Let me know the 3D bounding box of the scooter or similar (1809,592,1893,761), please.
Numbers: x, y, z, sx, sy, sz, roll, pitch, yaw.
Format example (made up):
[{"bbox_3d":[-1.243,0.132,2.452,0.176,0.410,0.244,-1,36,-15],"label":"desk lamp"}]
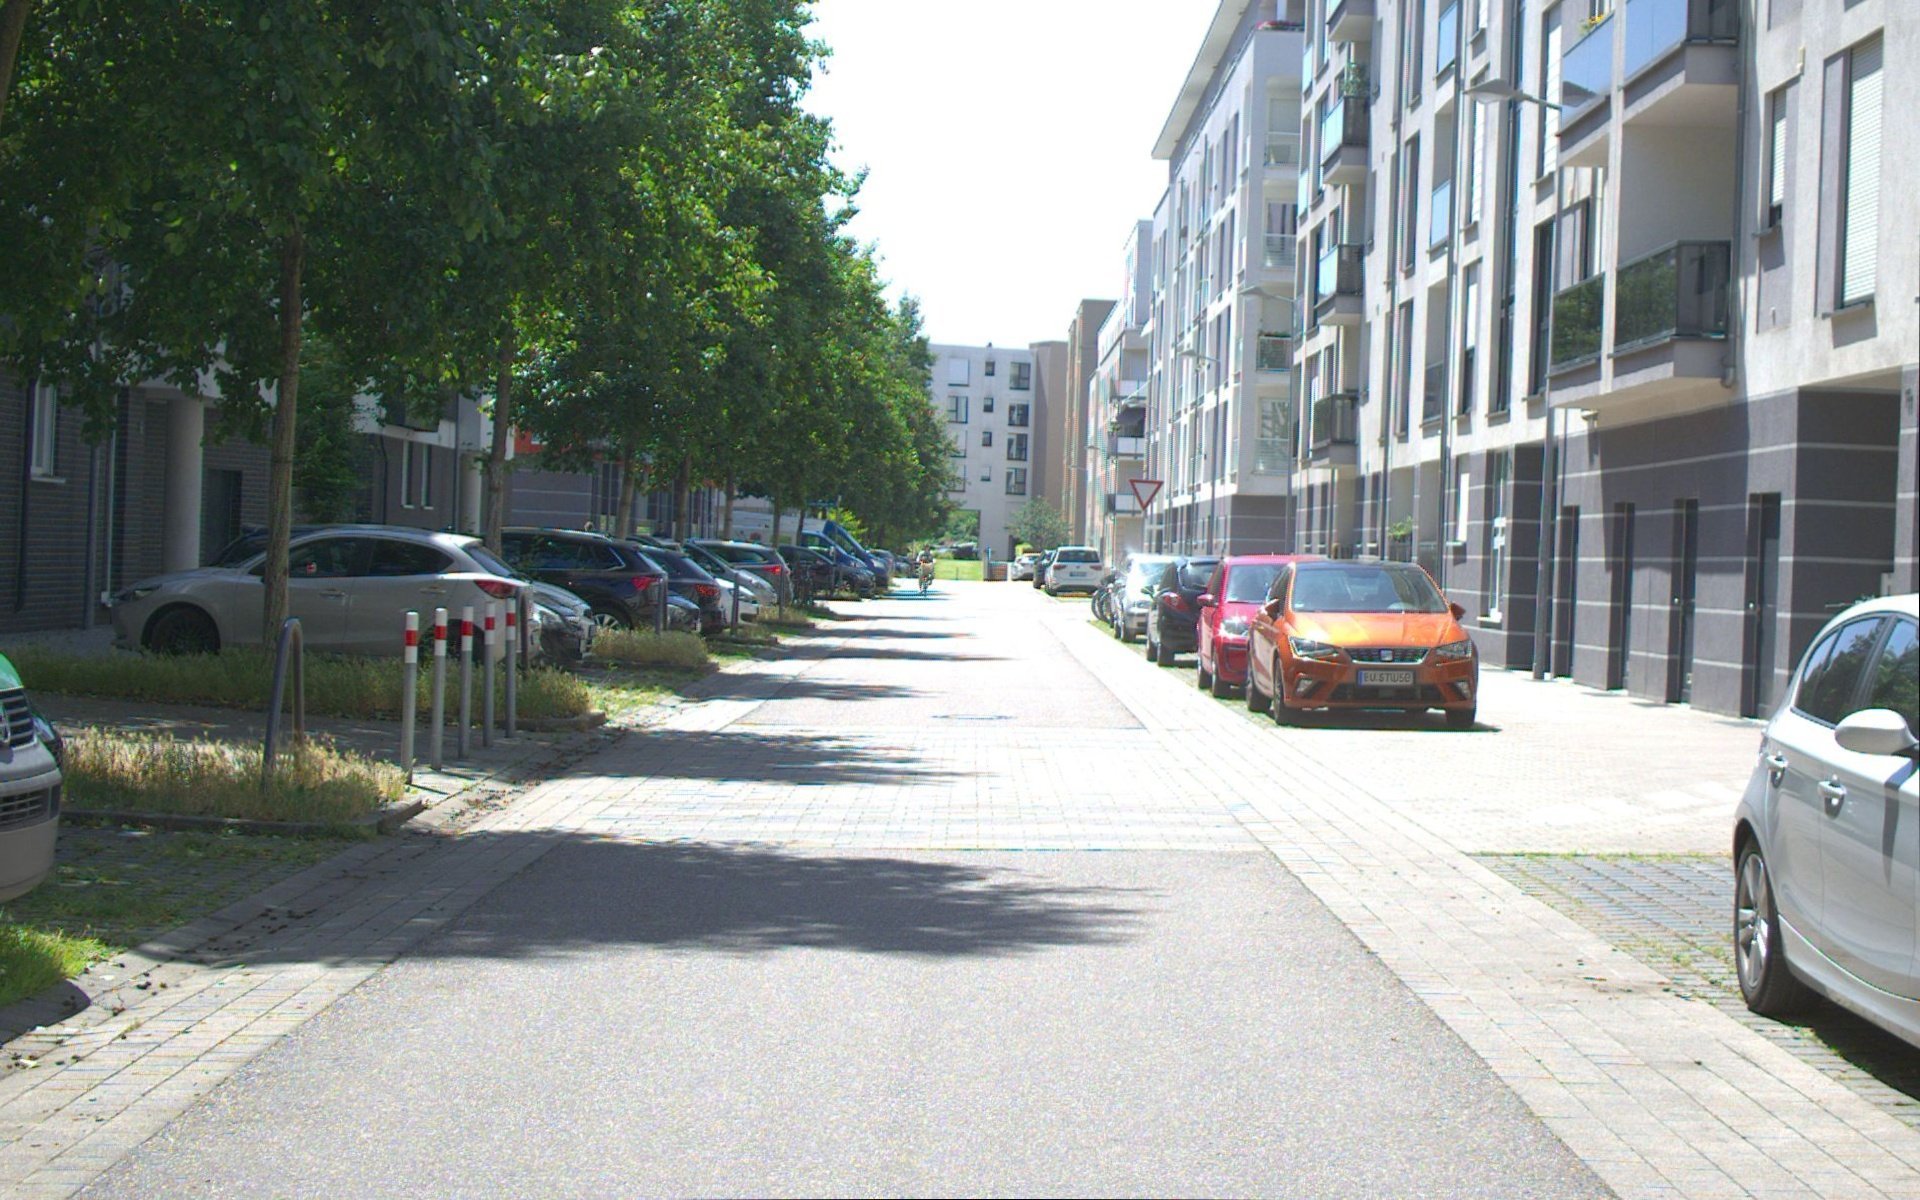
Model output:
[{"bbox_3d":[6.837,0.566,26.365,0.546,1.221,1.528,3,1,15],"label":"scooter or similar"}]

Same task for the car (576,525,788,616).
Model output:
[{"bbox_3d":[-5.434,-0.586,67.638,3.937,1.548,1.872,3,1,0],"label":"car"}]

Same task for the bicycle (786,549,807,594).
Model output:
[{"bbox_3d":[-4.584,-0.810,96.454,0.434,1.200,1.700,3,2,1],"label":"bicycle"}]

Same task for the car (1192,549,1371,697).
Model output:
[{"bbox_3d":[3.385,0.206,36.739,1.595,1.480,3.676,0,1,0],"label":"car"}]

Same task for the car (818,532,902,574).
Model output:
[{"bbox_3d":[-5.170,-2.435,178.030,3.988,2.007,1.999,2,1,7],"label":"car"}]

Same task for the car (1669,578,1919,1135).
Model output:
[{"bbox_3d":[3.437,0.689,10.033,1.845,1.411,4.426,2,1,1],"label":"car"}]

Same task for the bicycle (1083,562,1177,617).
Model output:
[{"bbox_3d":[3.612,-0.231,72.913,1.924,1.129,0.609,1,1,10],"label":"bicycle"}]

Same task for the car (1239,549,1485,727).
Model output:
[{"bbox_3d":[3.572,0.289,31.201,1.737,1.482,4.259,1,1,0],"label":"car"}]

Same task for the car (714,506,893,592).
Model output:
[{"bbox_3d":[-5.394,-1.759,119.189,6.024,2.806,2.605,1,1,1],"label":"car"}]

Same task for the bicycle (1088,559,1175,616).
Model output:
[{"bbox_3d":[3.741,-0.277,74.908,1.860,1.189,0.687,1,1,4],"label":"bicycle"}]

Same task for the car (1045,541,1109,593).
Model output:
[{"bbox_3d":[3.854,-1.107,113.652,1.997,1.651,4.115,1,1,1],"label":"car"}]

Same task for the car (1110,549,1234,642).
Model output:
[{"bbox_3d":[3.537,-0.106,57.896,1.834,1.499,4.351,0,1,0],"label":"car"}]

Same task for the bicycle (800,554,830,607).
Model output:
[{"bbox_3d":[-3.296,-0.455,77.947,0.371,1.176,1.821,1,1,-12],"label":"bicycle"}]

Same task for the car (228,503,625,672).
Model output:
[{"bbox_3d":[-5.844,-0.152,37.965,3.987,1.586,1.884,3,1,1],"label":"car"}]

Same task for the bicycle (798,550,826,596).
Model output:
[{"bbox_3d":[-4.152,-0.765,96.442,0.570,1.170,1.769,5,2,-7],"label":"bicycle"}]

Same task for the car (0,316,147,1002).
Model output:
[{"bbox_3d":[-5.586,0.102,11.051,5.342,2.103,2.187,2,1,2],"label":"car"}]

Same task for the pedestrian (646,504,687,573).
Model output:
[{"bbox_3d":[-8.572,-1.795,100.395,1.009,2.007,1.129,1,1,3],"label":"pedestrian"}]

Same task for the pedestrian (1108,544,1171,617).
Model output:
[{"bbox_3d":[3.760,-0.417,72.086,1.178,1.509,0.688,1,1,-9],"label":"pedestrian"}]

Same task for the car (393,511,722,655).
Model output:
[{"bbox_3d":[-5.268,-0.237,45.395,3.987,1.645,1.918,3,1,2],"label":"car"}]

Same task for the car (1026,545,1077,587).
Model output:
[{"bbox_3d":[3.582,-1.319,133.767,1.758,1.547,4.000,3,1,4],"label":"car"}]

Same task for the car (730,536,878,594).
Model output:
[{"bbox_3d":[-4.824,-1.096,106.570,4.383,1.509,2.075,4,1,1],"label":"car"}]

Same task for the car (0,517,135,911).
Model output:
[{"bbox_3d":[-5.371,0.321,13.844,3.623,1.476,1.678,3,1,0],"label":"car"}]

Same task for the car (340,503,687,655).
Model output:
[{"bbox_3d":[-5.525,-0.269,42.871,3.987,1.624,1.933,3,1,0],"label":"car"}]

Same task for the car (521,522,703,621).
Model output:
[{"bbox_3d":[-6.101,-0.514,60.483,2.932,1.495,1.848,4,1,-1],"label":"car"}]

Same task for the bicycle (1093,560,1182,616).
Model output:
[{"bbox_3d":[3.744,-0.249,72.545,1.833,1.144,0.461,1,1,-18],"label":"bicycle"}]

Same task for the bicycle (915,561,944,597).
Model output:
[{"bbox_3d":[-0.977,-0.702,111.875,0.898,1.125,2.040,2,1,0],"label":"bicycle"}]

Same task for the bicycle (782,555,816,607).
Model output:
[{"bbox_3d":[-3.658,-0.436,77.924,0.433,1.124,1.979,1,1,-12],"label":"bicycle"}]

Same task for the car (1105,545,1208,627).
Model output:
[{"bbox_3d":[3.750,-0.291,66.211,1.739,1.480,4.229,1,1,0],"label":"car"}]

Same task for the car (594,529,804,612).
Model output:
[{"bbox_3d":[-5.327,-0.596,70.533,4.180,1.481,1.959,3,0,-3],"label":"car"}]

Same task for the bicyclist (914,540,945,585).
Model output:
[{"bbox_3d":[-0.987,-1.219,111.814,0.954,1.454,0.800,2,1,0],"label":"bicyclist"}]

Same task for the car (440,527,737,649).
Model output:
[{"bbox_3d":[-5.150,-0.172,48.039,3.974,1.440,1.776,3,1,-3],"label":"car"}]

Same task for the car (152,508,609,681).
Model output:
[{"bbox_3d":[-5.911,-0.074,35.406,4.316,1.471,1.793,4,1,0],"label":"car"}]

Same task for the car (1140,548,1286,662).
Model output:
[{"bbox_3d":[3.381,0.034,46.508,1.642,1.457,4.118,0,1,0],"label":"car"}]

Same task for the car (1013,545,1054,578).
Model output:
[{"bbox_3d":[3.879,-2.060,182.317,1.993,1.669,4.000,2,1,-1],"label":"car"}]

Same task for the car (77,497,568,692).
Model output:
[{"bbox_3d":[-6.045,-0.064,32.961,4.252,1.512,1.925,4,1,0],"label":"car"}]

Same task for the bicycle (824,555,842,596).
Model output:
[{"bbox_3d":[-3.561,-0.696,96.655,0.466,1.138,1.926,2,1,-2],"label":"bicycle"}]

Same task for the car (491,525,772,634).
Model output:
[{"bbox_3d":[-5.221,-0.343,55.055,4.360,1.704,2.000,0,1,-2],"label":"car"}]

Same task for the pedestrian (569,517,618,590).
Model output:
[{"bbox_3d":[-8.614,-1.100,80.807,1.000,1.684,0.832,2,1,2],"label":"pedestrian"}]

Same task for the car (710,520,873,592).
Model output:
[{"bbox_3d":[-5.551,-1.475,113.762,5.145,2.112,2.312,3,1,0],"label":"car"}]
